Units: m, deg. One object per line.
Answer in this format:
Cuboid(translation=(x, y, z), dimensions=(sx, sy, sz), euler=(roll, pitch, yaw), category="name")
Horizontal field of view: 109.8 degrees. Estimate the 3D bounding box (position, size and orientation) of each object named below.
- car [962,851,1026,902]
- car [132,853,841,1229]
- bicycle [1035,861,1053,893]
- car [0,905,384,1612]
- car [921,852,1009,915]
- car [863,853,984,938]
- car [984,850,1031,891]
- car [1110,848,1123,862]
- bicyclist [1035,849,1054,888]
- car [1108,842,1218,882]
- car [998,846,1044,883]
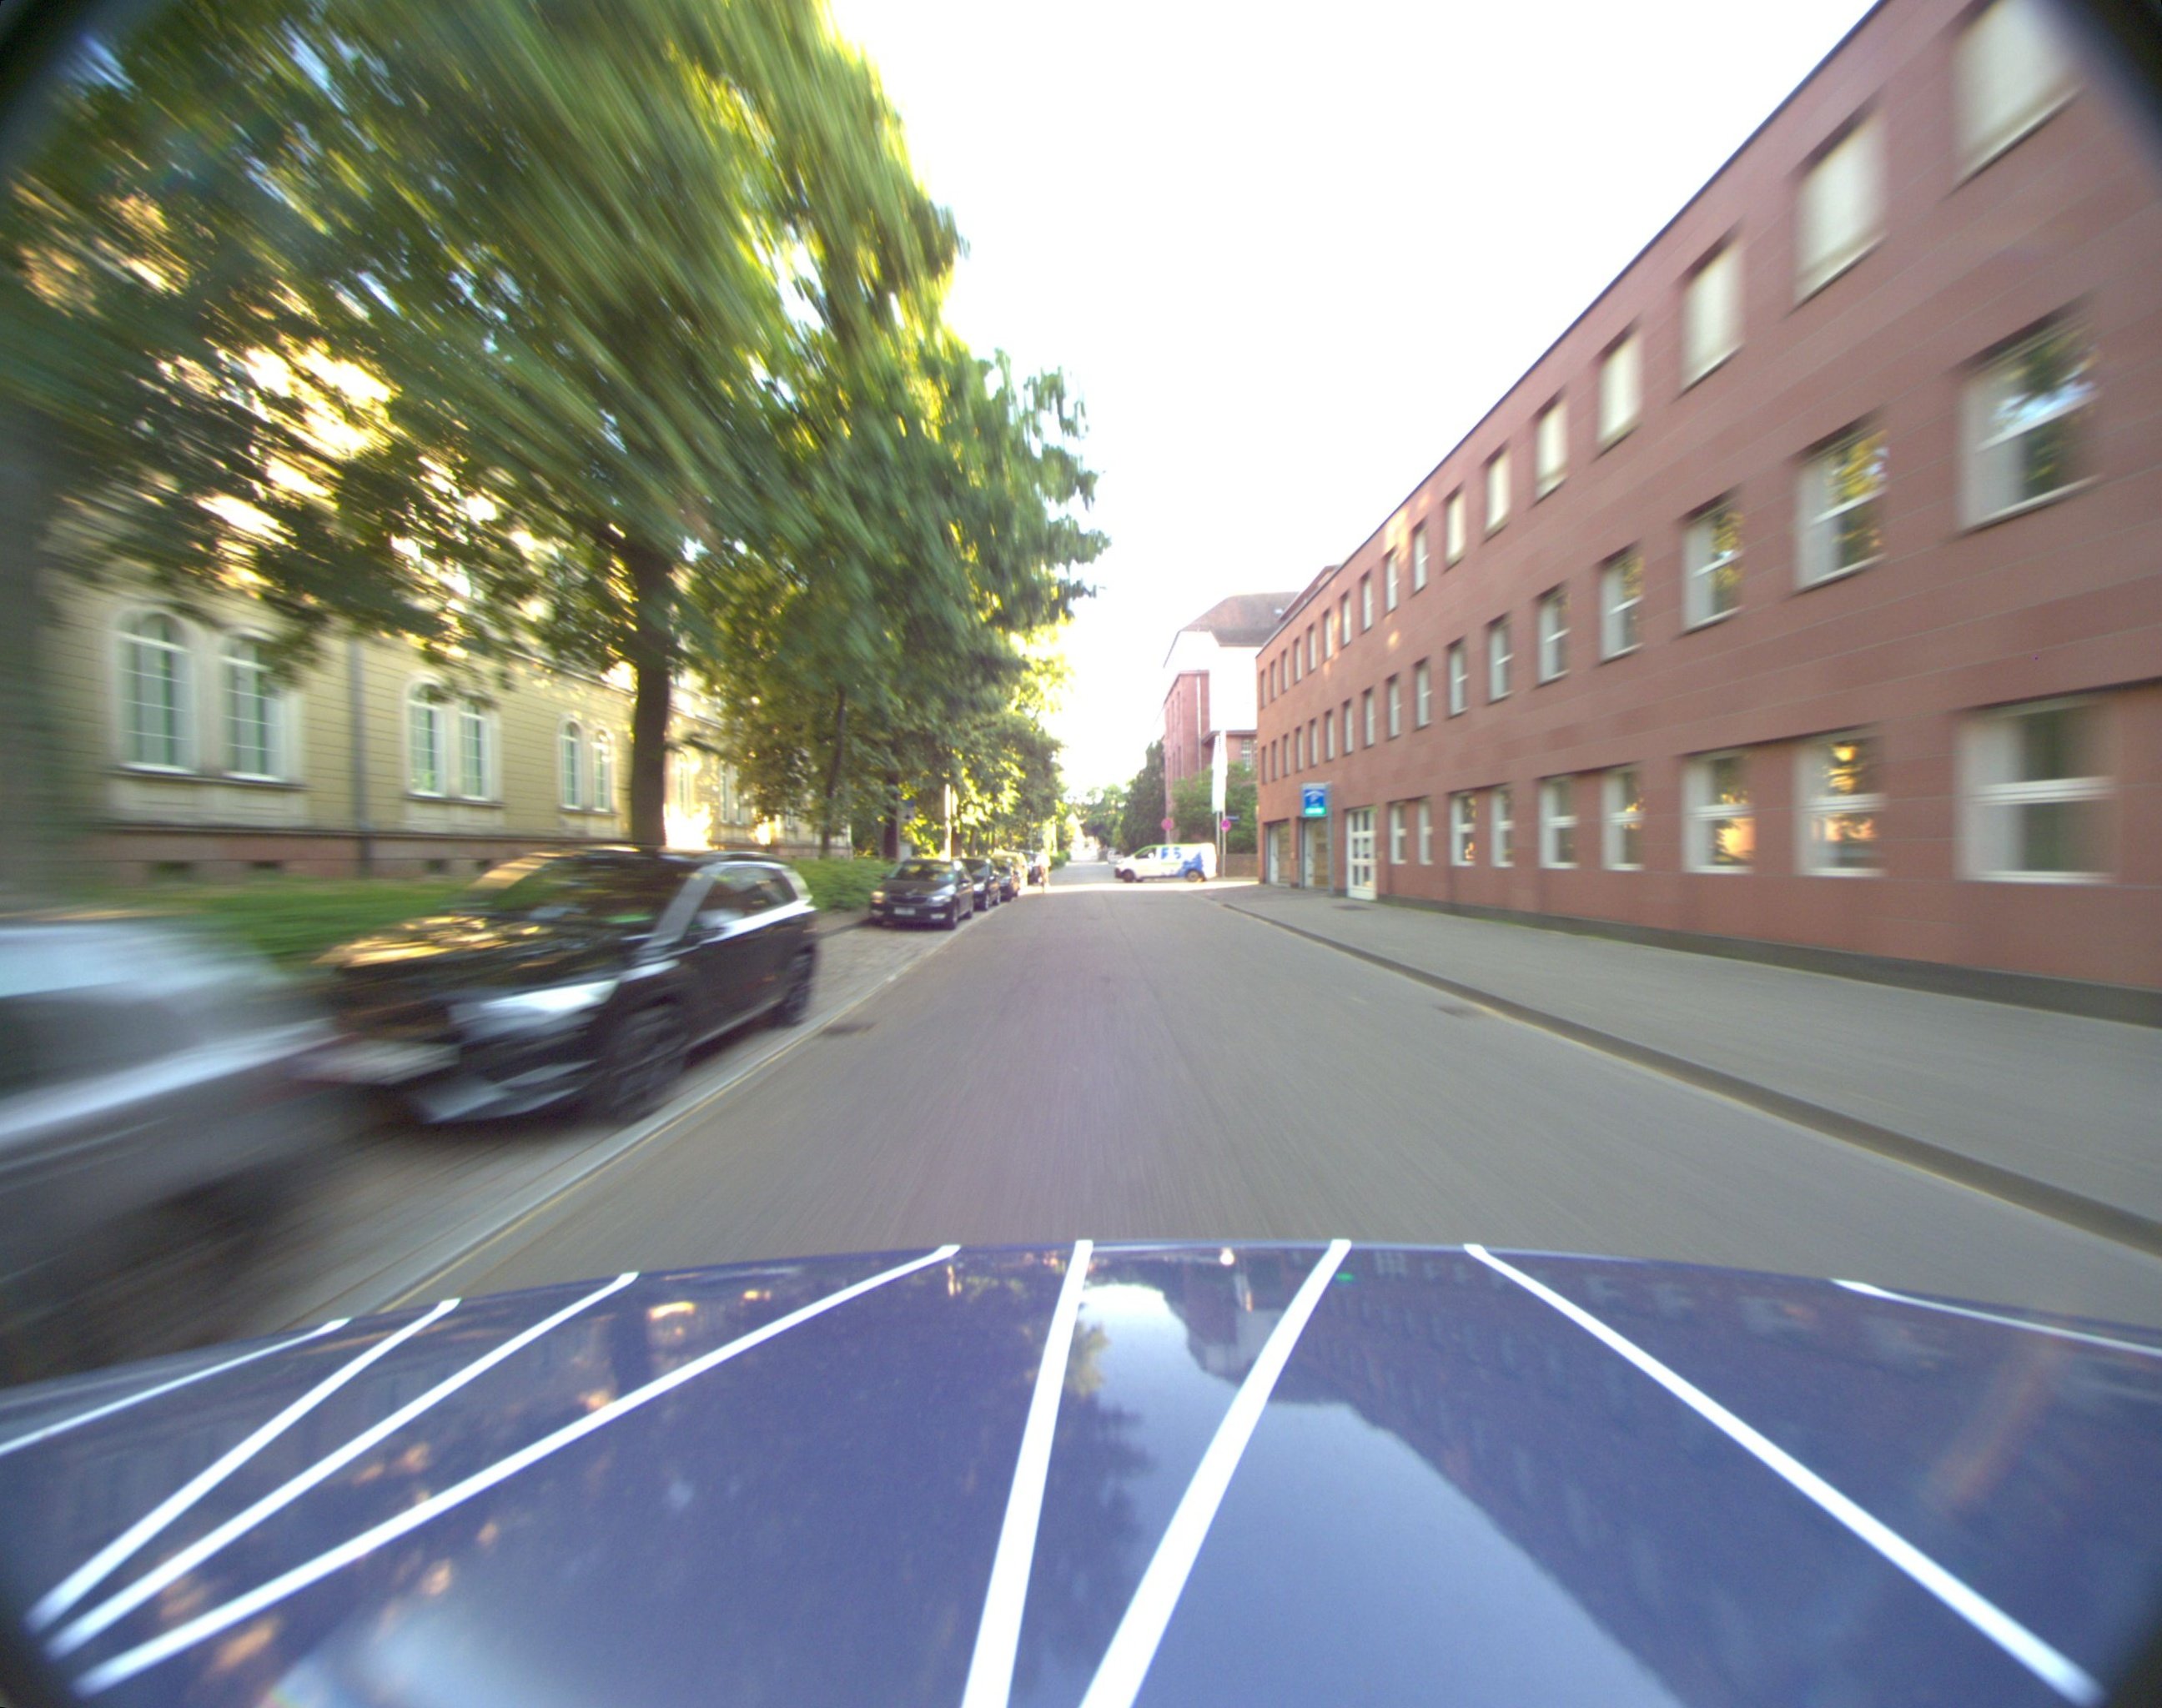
Cuboid(translation=(-3.069, 0.734, 27.638), dimensions=(1.728, 1.525, 4.621), euler=(4, 1, 0), category="car")
Cuboid(translation=(-3.449, 0.870, 5.725), dimensions=(1.811, 1.641, 4.418), euler=(3, 0, 0), category="car")
Cuboid(translation=(-1.538, 0.946, 31.787), dimensions=(0.753, 1.245, 2.209), euler=(0, 0, -2), category="bicycle")
Cuboid(translation=(-3.324, 0.988, 0.560), dimensions=(1.728, 1.529, 4.188), euler=(0, 1, 0), category="car")
Cuboid(translation=(-3.323, 0.799, 22.521), dimensions=(1.728, 1.525, 4.189), euler=(3, 1, 3), category="car")
Cuboid(translation=(-3.388, 0.824, 17.213), dimensions=(1.739, 1.498, 4.521), euler=(3, 1, 0), category="car")
Cuboid(translation=(-3.272, 0.690, 34.705), dimensions=(1.728, 1.673, 4.498), euler=(0, 1, 0), category="car")
Cuboid(translation=(5.430, 0.100, 116.817), dimensions=(1.886, 2.040, 4.324), euler=(0, 1, 0), category="car")
Cuboid(translation=(-1.517, 0.579, 31.802), dimensions=(0.753, 1.603, 1.038), euler=(0, 1, -2), category="bicyclist")
Cuboid(translation=(4.115, 0.424, 37.973), dimensions=(5.097, 1.863, 2.003), euler=(-2, -1, 21), category="car")
Cuboid(translation=(-3.110, 0.499, 40.399), dimensions=(1.809, 1.803, 4.947), euler=(0, 1, 3), category="car")
